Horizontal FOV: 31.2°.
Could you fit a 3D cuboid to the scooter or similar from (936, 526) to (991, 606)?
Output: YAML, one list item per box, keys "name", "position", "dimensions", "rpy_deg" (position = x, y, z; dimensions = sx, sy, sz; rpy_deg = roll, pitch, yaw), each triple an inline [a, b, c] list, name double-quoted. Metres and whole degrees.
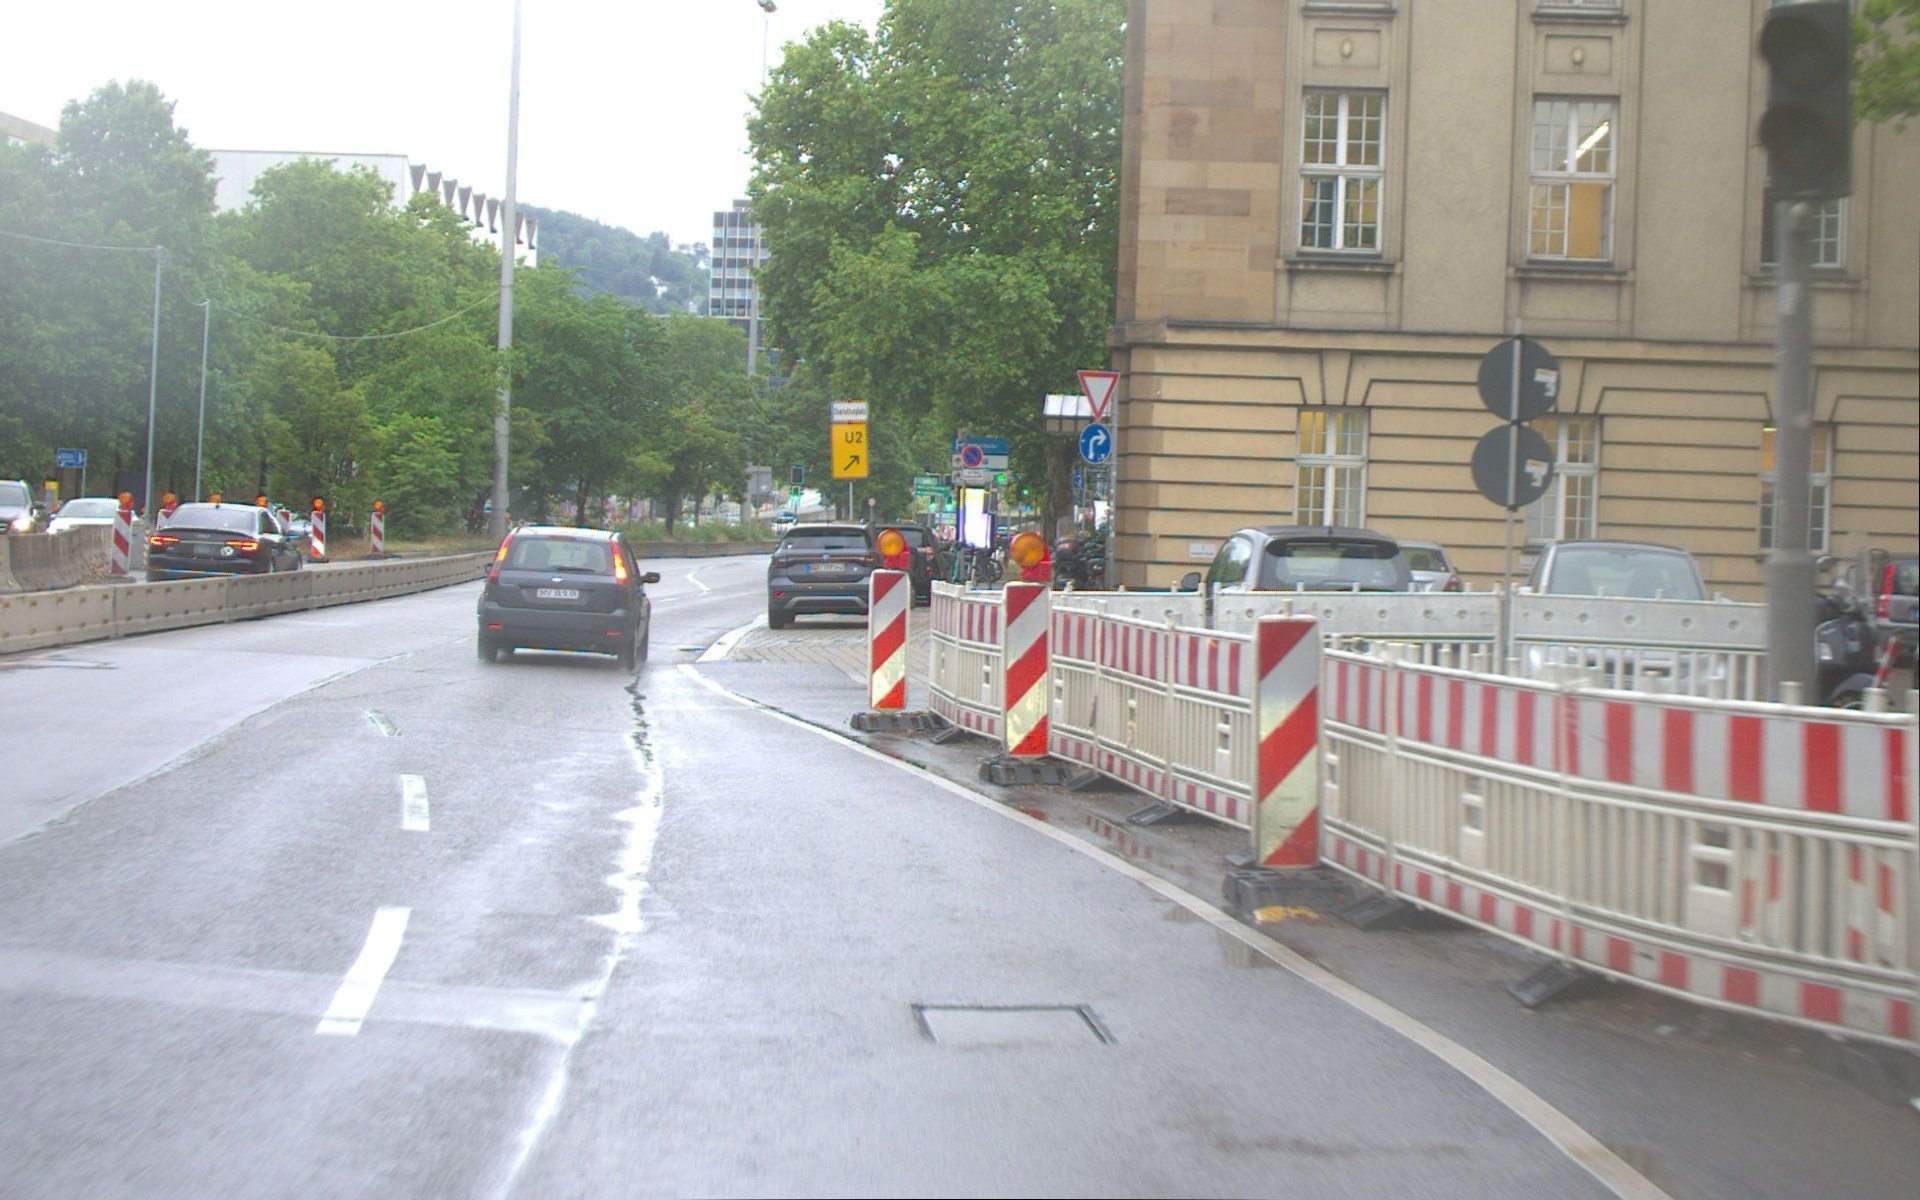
- name: "scooter or similar"
  position: [0.055, -0.567, 57.396]
  dimensions: [0.433, 1.288, 1.258]
  rpy_deg: [2, 1, -22]

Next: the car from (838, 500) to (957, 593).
- name: "car"
  position: [-1.258, -1.109, 71.101]
  dimensions: [1.994, 1.775, 4.188]
  rpy_deg: [3, 1, 4]

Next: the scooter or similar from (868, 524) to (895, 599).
- name: "scooter or similar"
  position: [-1.279, -0.634, 56.139]
  dimensions: [0.433, 1.212, 1.122]
  rpy_deg: [0, 1, -1]

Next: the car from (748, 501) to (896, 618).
- name: "car"
  position: [-1.994, -0.630, 50.897]
  dimensions: [1.871, 1.613, 4.404]
  rpy_deg: [1, 2, 1]

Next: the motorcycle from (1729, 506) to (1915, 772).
- name: "motorcycle"
  position: [6.503, 0.260, 26.065]
  dimensions: [0.748, 1.898, 2.590]
  rpy_deg: [1, 1, 1]

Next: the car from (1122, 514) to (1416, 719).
- name: "car"
  position: [2.437, 0.107, 27.962]
  dimensions: [1.686, 1.489, 3.622]
  rpy_deg: [2, 0, -5]

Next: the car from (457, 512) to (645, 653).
- name: "car"
  position: [-4.415, -0.199, 36.702]
  dimensions: [1.843, 1.411, 3.840]
  rpy_deg: [1, 1, -9]

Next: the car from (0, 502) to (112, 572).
- name: "car"
  position: [-21.330, -1.507, 81.044]
  dimensions: [1.993, 1.524, 4.001]
  rpy_deg: [2, 2, -6]

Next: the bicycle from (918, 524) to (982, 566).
- name: "bicycle"
  position: [-0.278, -1.533, 95.224]
  dimensions: [1.679, 1.086, 0.650]
  rpy_deg: [3, 1, 4]

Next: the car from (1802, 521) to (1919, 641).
- name: "car"
  position: [12.973, -0.288, 47.307]
  dimensions: [1.818, 1.534, 4.508]
  rpy_deg: [1, 2, 3]

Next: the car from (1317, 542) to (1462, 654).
- name: "car"
  position: [5.851, -0.054, 47.194]
  dimensions: [1.520, 1.406, 4.128]
  rpy_deg: [2, 1, 1]

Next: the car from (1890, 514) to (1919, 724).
- name: "car"
  position: [8.562, 0.182, 26.732]
  dimensions: [1.955, 1.678, 4.491]
  rpy_deg: [1, 1, 8]

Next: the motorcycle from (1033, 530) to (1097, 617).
- name: "motorcycle"
  position: [1.644, -0.418, 53.364]
  dimensions: [0.807, 1.294, 1.798]
  rpy_deg: [3, 1, 6]

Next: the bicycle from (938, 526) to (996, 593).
- name: "bicycle"
  position: [0.121, -0.762, 63.754]
  dimensions: [0.775, 1.214, 1.966]
  rpy_deg: [1, 1, -9]

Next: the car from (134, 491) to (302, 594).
- name: "car"
  position: [-11.081, -0.859, 51.584]
  dimensions: [1.754, 1.446, 4.000]
  rpy_deg: [1, 1, -2]

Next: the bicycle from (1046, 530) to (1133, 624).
- name: "bicycle"
  position: [1.898, -0.349, 50.669]
  dimensions: [1.102, 1.312, 1.859]
  rpy_deg: [3, 1, -2]

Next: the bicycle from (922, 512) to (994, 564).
- name: "bicycle"
  position: [-0.053, -1.726, 95.651]
  dimensions: [1.906, 1.328, 0.650]
  rpy_deg: [3, 1, 4]

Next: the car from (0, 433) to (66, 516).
- name: "car"
  position: [-18.486, -2.423, 65.706]
  dimensions: [1.920, 1.524, 4.762]
  rpy_deg: [2, 2, -6]

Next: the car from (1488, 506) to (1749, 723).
- name: "car"
  position: [4.991, 0.087, 26.362]
  dimensions: [1.581, 1.532, 3.021]
  rpy_deg: [1, 1, 4]
